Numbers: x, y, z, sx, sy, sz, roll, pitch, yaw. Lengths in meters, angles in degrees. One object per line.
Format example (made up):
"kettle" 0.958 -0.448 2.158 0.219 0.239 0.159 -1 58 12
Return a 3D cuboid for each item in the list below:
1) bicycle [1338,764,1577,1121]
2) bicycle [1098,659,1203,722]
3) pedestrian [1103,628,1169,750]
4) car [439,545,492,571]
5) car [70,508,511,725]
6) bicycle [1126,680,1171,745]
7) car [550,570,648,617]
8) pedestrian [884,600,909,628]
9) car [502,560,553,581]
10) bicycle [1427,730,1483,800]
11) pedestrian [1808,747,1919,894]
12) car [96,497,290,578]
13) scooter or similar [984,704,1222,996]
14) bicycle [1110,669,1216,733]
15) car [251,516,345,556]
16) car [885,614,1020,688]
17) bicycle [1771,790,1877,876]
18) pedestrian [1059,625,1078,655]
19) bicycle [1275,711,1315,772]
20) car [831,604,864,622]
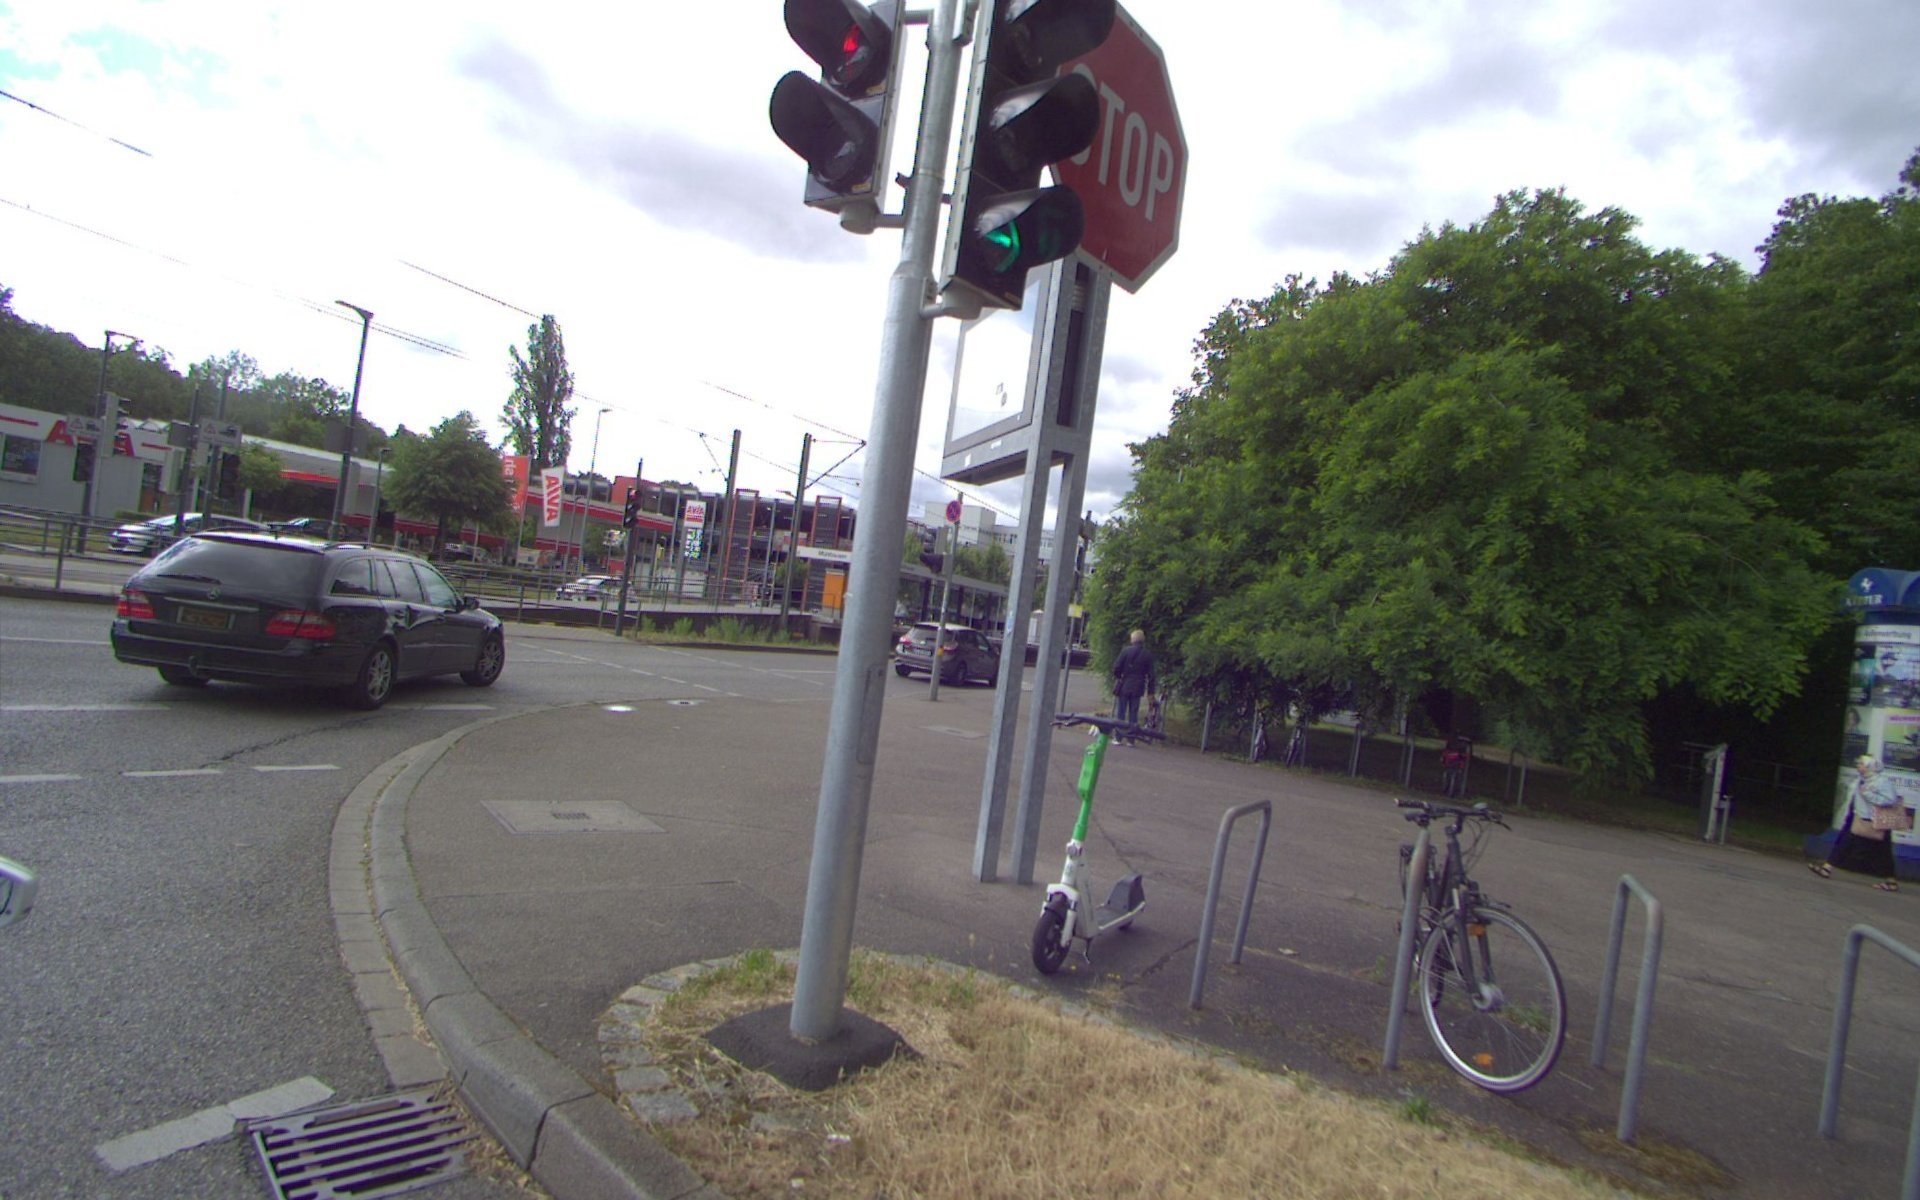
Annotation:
"bicycle" 2.145 1.389 4.550 0.596 1.057 1.702 8 -1 18
"bicycle" 3.922 1.864 20.827 2.014 0.950 0.589 8 0 40
"pedestrian" 2.716 1.359 15.543 0.677 1.774 0.420 9 0 -1
"car" -46.033 -3.922 93.776 1.881 1.772 4.060 6 -2 23
"car" -6.282 0.165 10.204 1.808 1.495 4.411 8 -1 -7
"bicycle" 3.213 1.877 17.083 0.514 0.917 1.852 6 0 15
"car" -15.566 -0.251 43.611 1.603 1.471 3.829 7 -2 26
"pedestrian" -3.024 0.652 48.010 0.758 1.203 0.727 7 -1 29
"car" -39.957 -2.717 93.030 1.881 1.381 4.060 6 -2 24
"bicycle" 7.654 2.526 15.604 0.469 0.866 1.740 9 -1 20
"pedestrian" 10.796 2.588 11.958 0.741 1.531 0.671 7 -1 16
"car" -22.640 -1.803 29.869 1.719 1.660 4.123 7 -2 26
"scooter or similar" 0.745 1.120 4.909 0.643 1.125 1.231 7 -1 28
"bicycle" 3.901 1.924 19.378 1.839 0.936 0.544 7 1 26
"car" -34.028 -3.270 51.821 1.590 1.365 3.634 8 -1 27
"car" -0.092 1.427 26.910 1.798 1.548 4.416 9 -1 24
"bicycle" 12.063 3.223 14.099 0.469 0.866 1.658 9 -1 20
"pedestrian" 6.878 2.520 63.515 0.738 1.764 0.937 6 -1 25
"bicycle" 5.458 2.280 16.352 0.469 0.817 1.515 9 -1 20
"car" -12.545 1.494 112.448 1.751 1.557 4.000 6 -2 25
